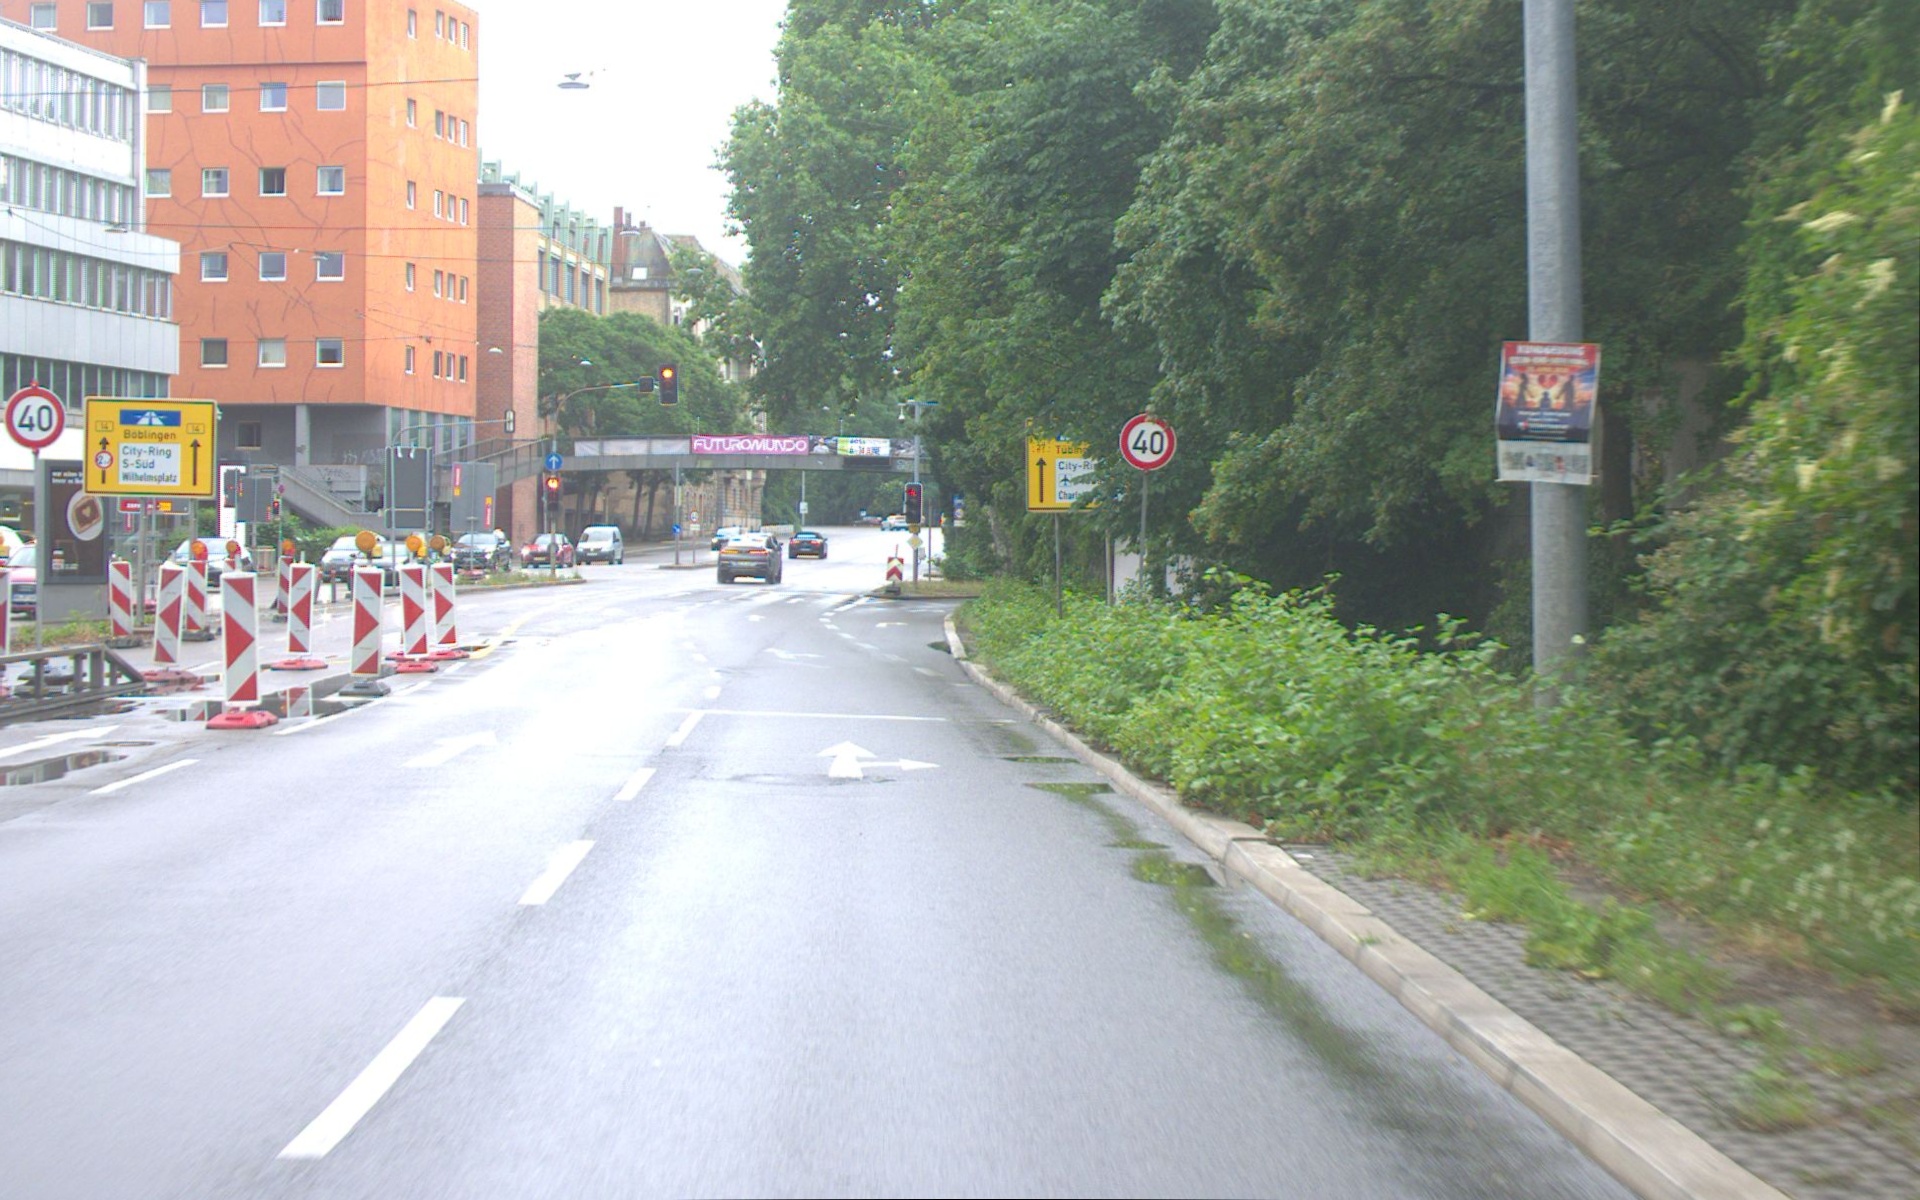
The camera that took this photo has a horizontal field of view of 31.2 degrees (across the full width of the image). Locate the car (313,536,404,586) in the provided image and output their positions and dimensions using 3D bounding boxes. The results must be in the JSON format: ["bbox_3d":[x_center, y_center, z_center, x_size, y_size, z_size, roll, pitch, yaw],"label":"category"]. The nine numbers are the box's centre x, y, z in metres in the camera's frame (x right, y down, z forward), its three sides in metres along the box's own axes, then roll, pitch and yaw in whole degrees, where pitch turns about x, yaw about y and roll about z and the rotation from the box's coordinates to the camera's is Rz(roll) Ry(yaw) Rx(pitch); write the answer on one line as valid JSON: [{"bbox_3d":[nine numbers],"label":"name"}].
[{"bbox_3d":[-19.232,-1.264,110.151,1.808,1.553,4.300,0,1,5],"label":"car"}]

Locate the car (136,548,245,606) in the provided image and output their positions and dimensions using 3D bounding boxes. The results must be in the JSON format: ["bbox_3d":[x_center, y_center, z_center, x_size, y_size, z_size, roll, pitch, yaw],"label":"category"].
[{"bbox_3d":[-20.489,-0.602,91.653,1.752,1.508,3.999,0,0,4],"label":"car"}]

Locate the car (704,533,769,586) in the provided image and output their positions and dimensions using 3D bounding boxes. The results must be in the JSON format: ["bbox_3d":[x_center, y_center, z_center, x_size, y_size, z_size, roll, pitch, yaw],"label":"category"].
[{"bbox_3d":[-7.974,-1.464,122.914,2.120,1.729,4.199,3,2,-2],"label":"car"}]

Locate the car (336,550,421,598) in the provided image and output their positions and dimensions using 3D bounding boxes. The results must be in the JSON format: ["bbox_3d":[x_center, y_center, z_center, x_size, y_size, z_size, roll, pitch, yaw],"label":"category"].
[{"bbox_3d":[-16.787,-0.772,99.395,1.689,1.349,4.115,-1,1,1],"label":"car"}]

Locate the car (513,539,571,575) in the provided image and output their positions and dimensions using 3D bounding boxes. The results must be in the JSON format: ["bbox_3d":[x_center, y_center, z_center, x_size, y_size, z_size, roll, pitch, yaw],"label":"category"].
[{"bbox_3d":[-17.889,-1.863,147.359,1.829,1.497,4.373,-1,1,2],"label":"car"}]

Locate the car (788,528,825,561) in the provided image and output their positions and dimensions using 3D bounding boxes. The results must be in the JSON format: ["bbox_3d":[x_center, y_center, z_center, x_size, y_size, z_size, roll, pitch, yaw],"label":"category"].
[{"bbox_3d":[-8.119,-2.936,182.283,1.763,1.691,3.706,-1,1,0],"label":"car"}]

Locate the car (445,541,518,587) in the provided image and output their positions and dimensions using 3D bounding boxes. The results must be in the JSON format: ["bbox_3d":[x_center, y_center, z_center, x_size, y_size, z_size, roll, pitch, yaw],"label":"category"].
[{"bbox_3d":[-18.590,-1.409,133.740,1.845,1.731,4.604,0,1,5],"label":"car"}]

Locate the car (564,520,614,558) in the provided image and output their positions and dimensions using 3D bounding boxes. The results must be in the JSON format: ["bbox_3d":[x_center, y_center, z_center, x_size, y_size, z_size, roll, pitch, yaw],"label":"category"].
[{"bbox_3d":[-17.398,-2.856,161.393,1.734,1.780,4.301,-1,1,1],"label":"car"}]

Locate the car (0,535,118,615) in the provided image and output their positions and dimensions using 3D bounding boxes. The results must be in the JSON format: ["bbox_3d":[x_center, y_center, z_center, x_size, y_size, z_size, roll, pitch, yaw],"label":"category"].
[{"bbox_3d":[-16.796,-0.472,63.144,1.735,1.399,4.290,1,1,-2],"label":"car"}]

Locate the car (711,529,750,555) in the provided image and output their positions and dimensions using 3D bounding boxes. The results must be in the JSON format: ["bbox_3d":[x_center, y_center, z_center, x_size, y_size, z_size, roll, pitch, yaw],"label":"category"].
[{"bbox_3d":[-14.050,-3.551,210.580,1.993,1.514,4.000,1,1,1],"label":"car"}]

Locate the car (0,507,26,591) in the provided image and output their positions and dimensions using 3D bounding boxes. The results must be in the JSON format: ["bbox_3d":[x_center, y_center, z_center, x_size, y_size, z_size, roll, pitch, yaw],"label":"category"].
[{"bbox_3d":[-20.445,-1.032,69.543,1.979,1.701,4.832,0,1,-2],"label":"car"}]
